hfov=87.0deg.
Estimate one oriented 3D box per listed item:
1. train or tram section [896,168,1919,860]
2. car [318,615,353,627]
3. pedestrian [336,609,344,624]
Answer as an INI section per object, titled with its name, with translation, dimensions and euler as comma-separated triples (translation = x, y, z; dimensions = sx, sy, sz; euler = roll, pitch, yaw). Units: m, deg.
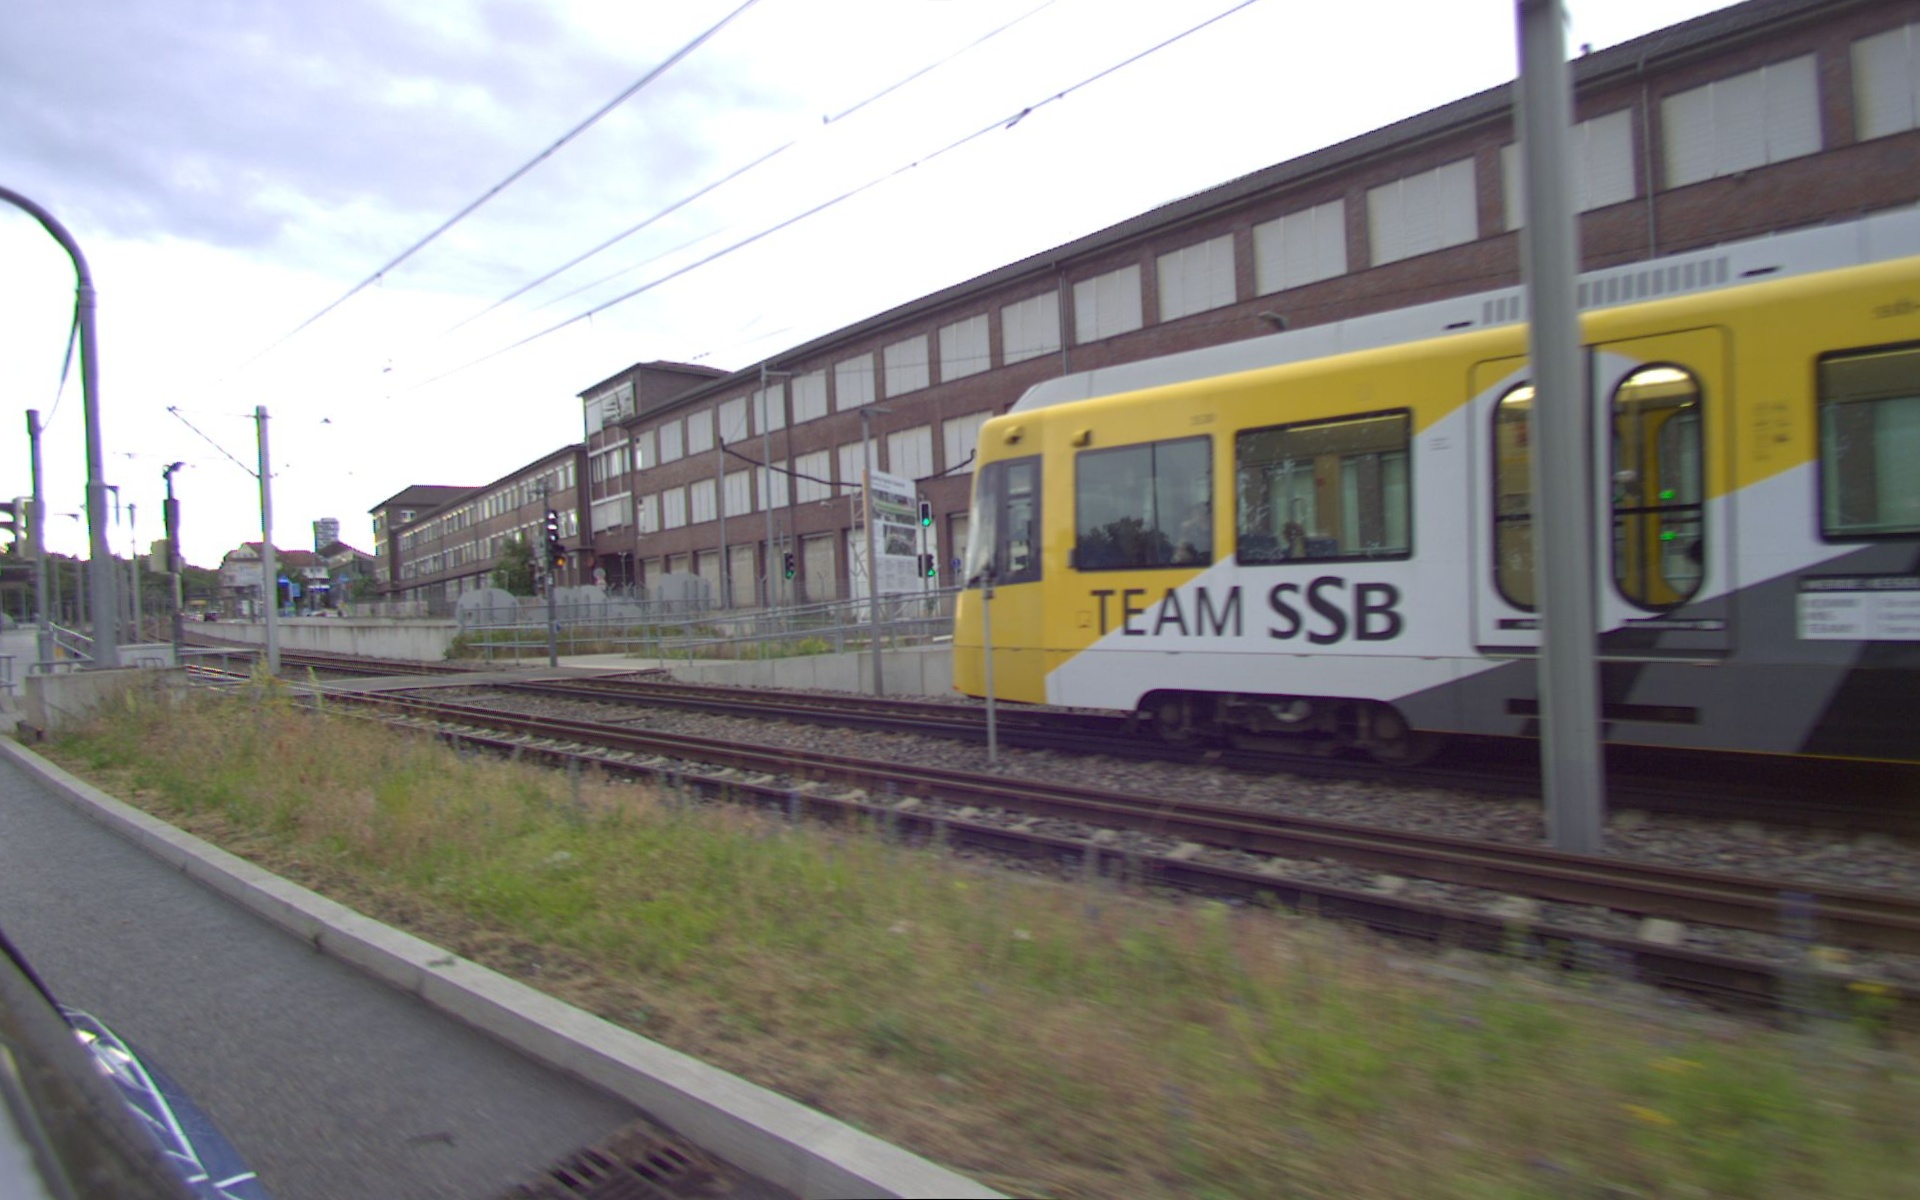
[train or tram section]
translation = 7.692, -0.560, 5.721
dimensions = 19.561, 3.915, 2.925
euler = -2, 1, 41
[car]
translation = -100.553, 3.373, 162.950
dimensions = 4.507, 1.773, 2.004
euler = -2, 0, -39
[pedestrian]
translation = -80.115, 2.127, 130.773
dimensions = 0.723, 2.029, 0.578
euler = -1, 0, 15
